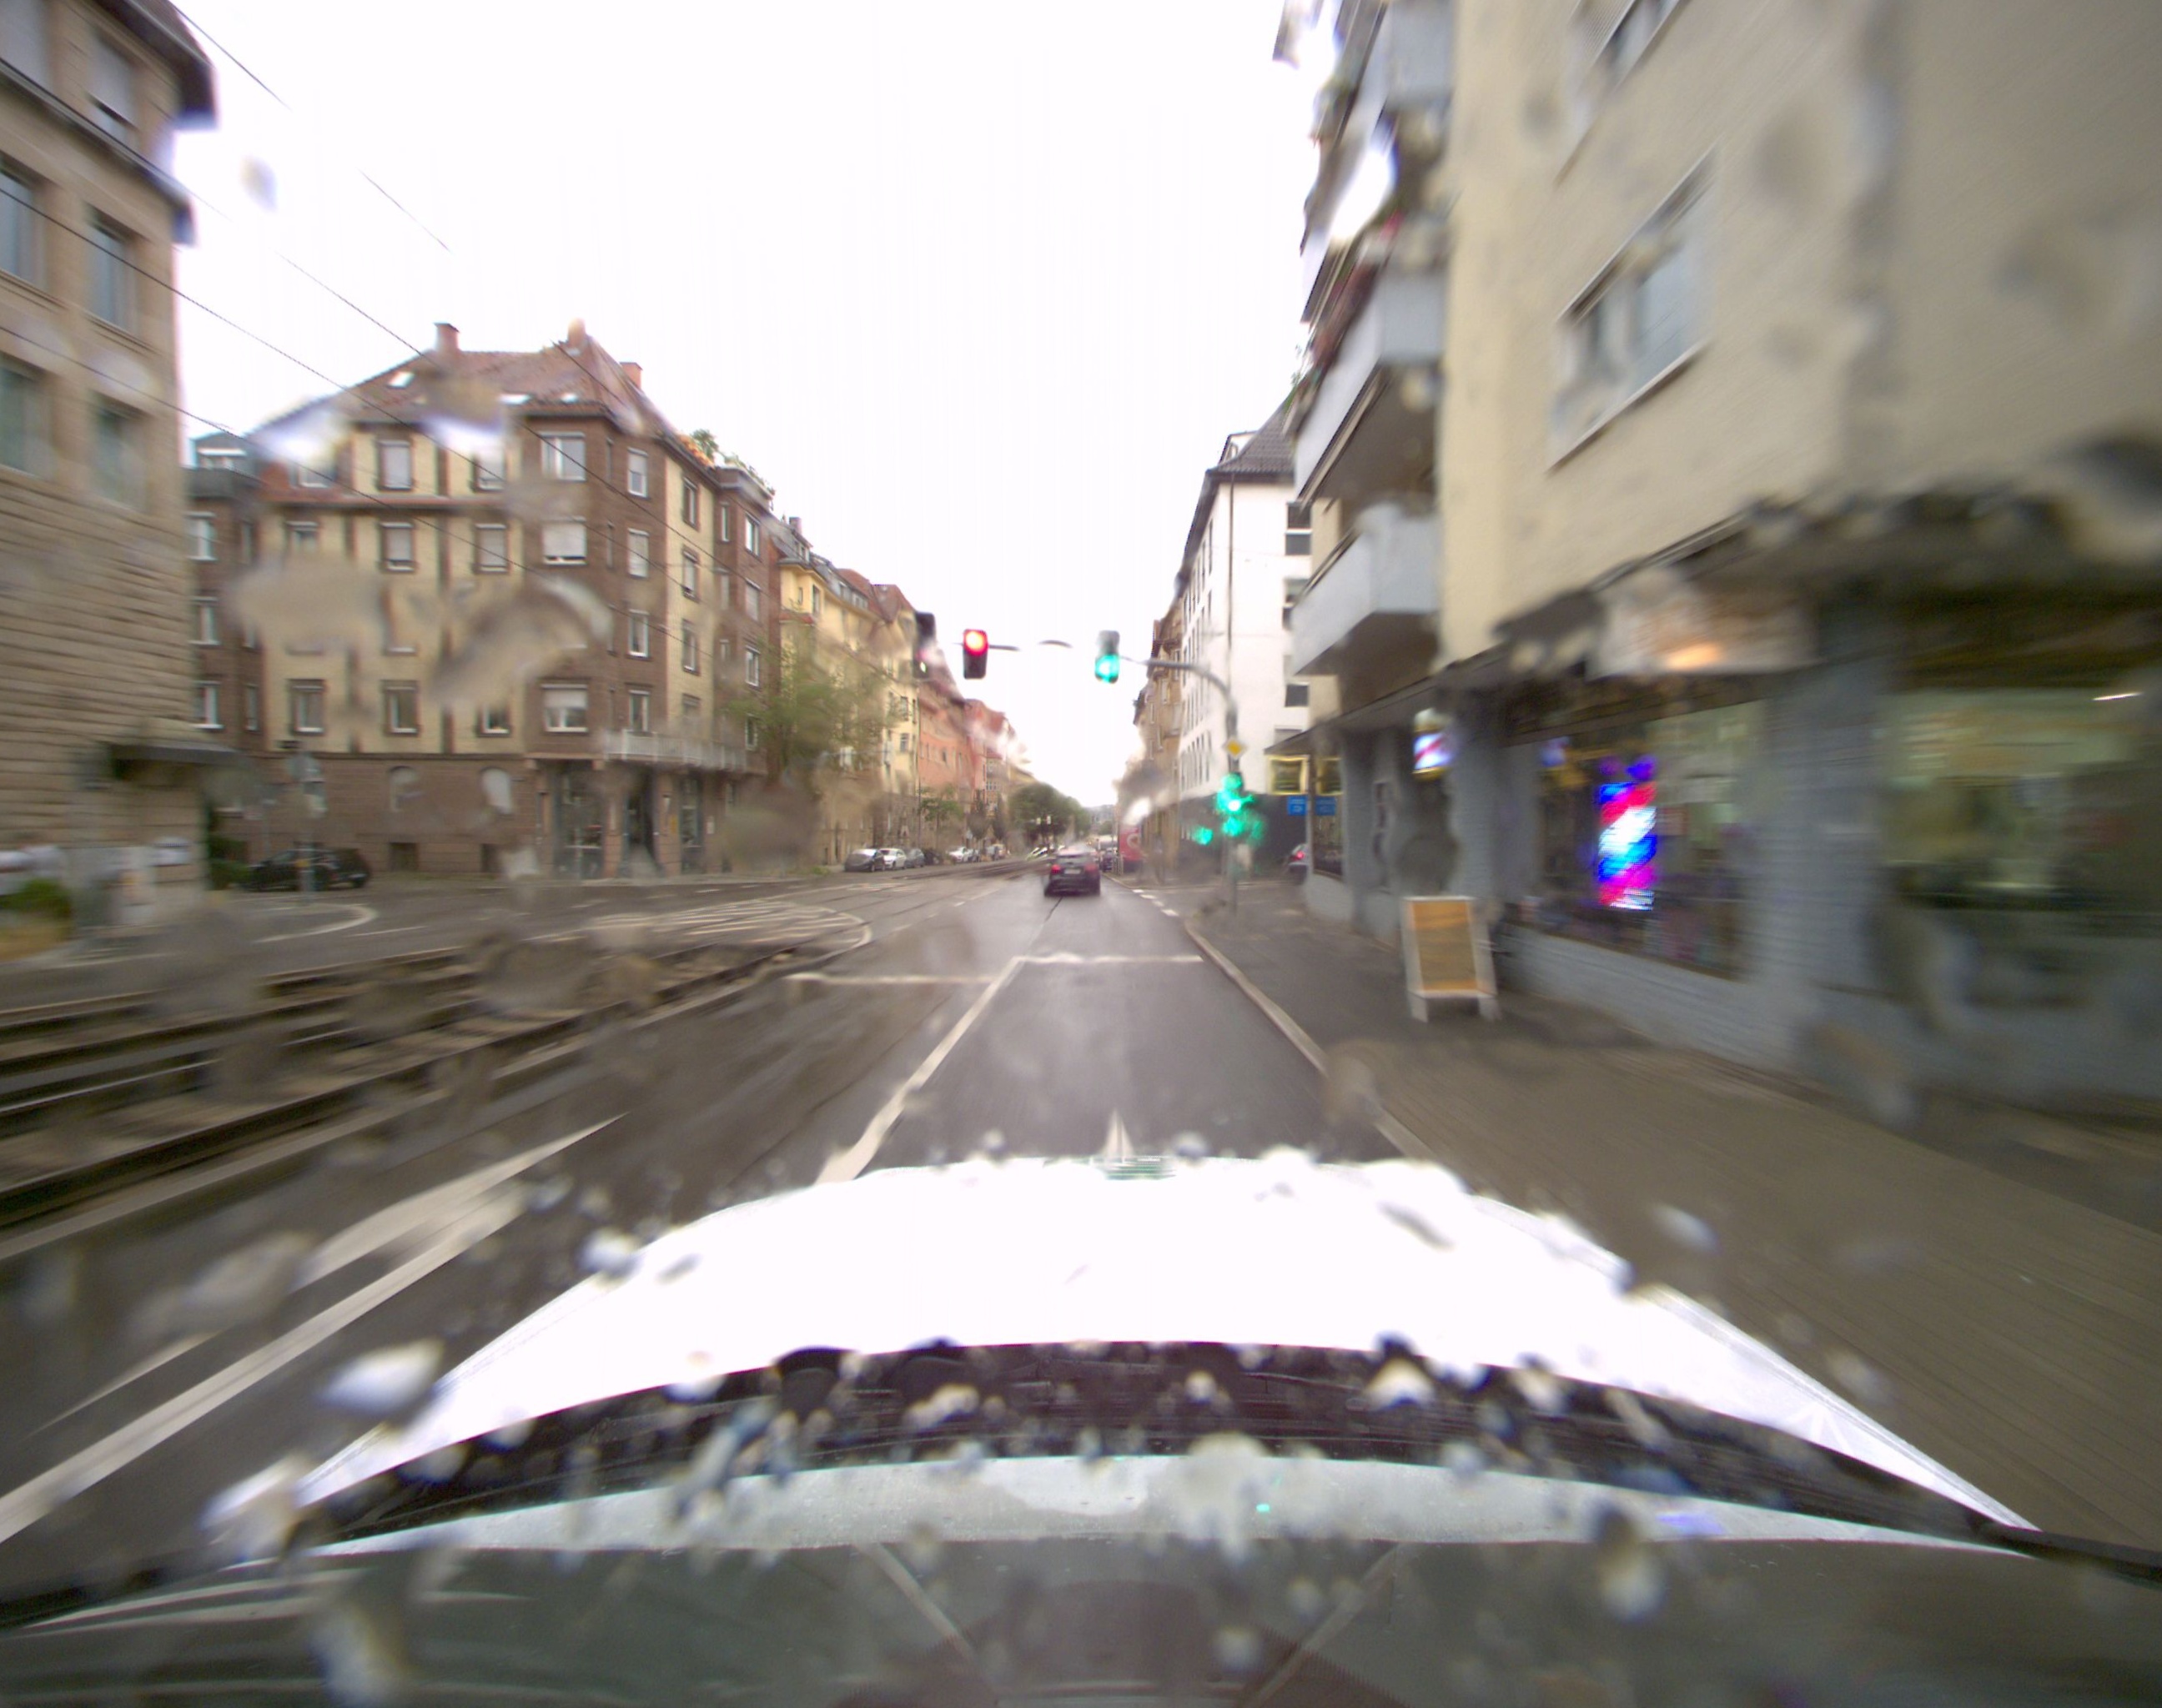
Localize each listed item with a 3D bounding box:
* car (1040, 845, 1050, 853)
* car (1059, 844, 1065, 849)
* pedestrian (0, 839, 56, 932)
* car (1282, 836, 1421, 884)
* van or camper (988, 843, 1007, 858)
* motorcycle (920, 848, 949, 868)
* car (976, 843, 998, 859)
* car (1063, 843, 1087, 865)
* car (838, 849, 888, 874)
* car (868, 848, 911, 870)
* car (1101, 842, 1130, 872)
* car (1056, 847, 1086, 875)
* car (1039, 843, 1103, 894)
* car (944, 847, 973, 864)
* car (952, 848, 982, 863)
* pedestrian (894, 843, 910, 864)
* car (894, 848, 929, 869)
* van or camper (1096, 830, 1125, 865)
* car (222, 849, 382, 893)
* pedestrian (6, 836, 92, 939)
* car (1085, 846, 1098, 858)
[{"bbox_3d":[-8.498,-1.267,192.030,1.986,1.793,4.002,1,1,2],"label":"car"},{"bbox_3d":[-5.924,-2.407,256.506,1.791,1.548,3.997,0,0,-2],"label":"car"},{"bbox_3d":[-16.912,0.487,12.821,0.750,1.422,0.646,0,0,5],"label":"pedestrian"},{"bbox_3d":[8.704,0.170,26.485,3.969,1.414,1.763,-1,1,4],"label":"car"},{"bbox_3d":[-11.214,-0.475,110.036,1.987,1.901,4.698,-2,1,0],"label":"van or camper"},{"bbox_3d":[-12.391,0.307,68.816,2.263,1.642,1.286,0,0,-16],"label":"motorcycle"},{"bbox_3d":[-11.775,-0.381,102.043,1.985,1.901,4.702,0,0,3],"label":"car"},{"bbox_3d":[-0.530,-0.028,69.983,1.916,1.655,3.998,-1,2,-2],"label":"car"},{"bbox_3d":[-13.204,0.439,49.580,1.758,1.486,4.002,0,0,3],"label":"car"},{"bbox_3d":[-12.793,0.294,54.651,1.660,1.426,4.266,0,0,3],"label":"car"},{"bbox_3d":[2.208,0.176,52.140,1.762,1.808,4.484,1,0,2],"label":"car"},{"bbox_3d":[-0.528,0.357,47.660,1.530,1.510,4.003,1,1,2],"label":"car"},{"bbox_3d":[-0.279,0.448,26.760,1.939,1.564,3.643,-1,0,1],"label":"car"},{"bbox_3d":[-11.895,0.118,79.266,1.775,1.589,4.359,0,0,7],"label":"car"},{"bbox_3d":[-11.893,0.138,85.269,1.984,1.509,4.981,2,1,4],"label":"car"},{"bbox_3d":[-14.919,-0.065,67.964,1.003,1.753,0.925,1,0,3],"label":"pedestrian"},{"bbox_3d":[-12.587,0.313,60.708,1.555,1.437,4.150,-1,2,3],"label":"car"},{"bbox_3d":[2.186,-0.459,60.638,2.056,2.469,6.122,0,0,2],"label":"van or camper"},{"bbox_3d":[-28.953,0.612,30.346,4.195,1.565,1.844,0,0,1],"label":"car"},{"bbox_3d":[-16.182,0.519,12.784,0.514,1.570,0.644,0,-1,6],"label":"pedestrian"},{"bbox_3d":[1.577,-0.287,121.893,1.895,1.593,4.001,-1,-1,2],"label":"car"}]
